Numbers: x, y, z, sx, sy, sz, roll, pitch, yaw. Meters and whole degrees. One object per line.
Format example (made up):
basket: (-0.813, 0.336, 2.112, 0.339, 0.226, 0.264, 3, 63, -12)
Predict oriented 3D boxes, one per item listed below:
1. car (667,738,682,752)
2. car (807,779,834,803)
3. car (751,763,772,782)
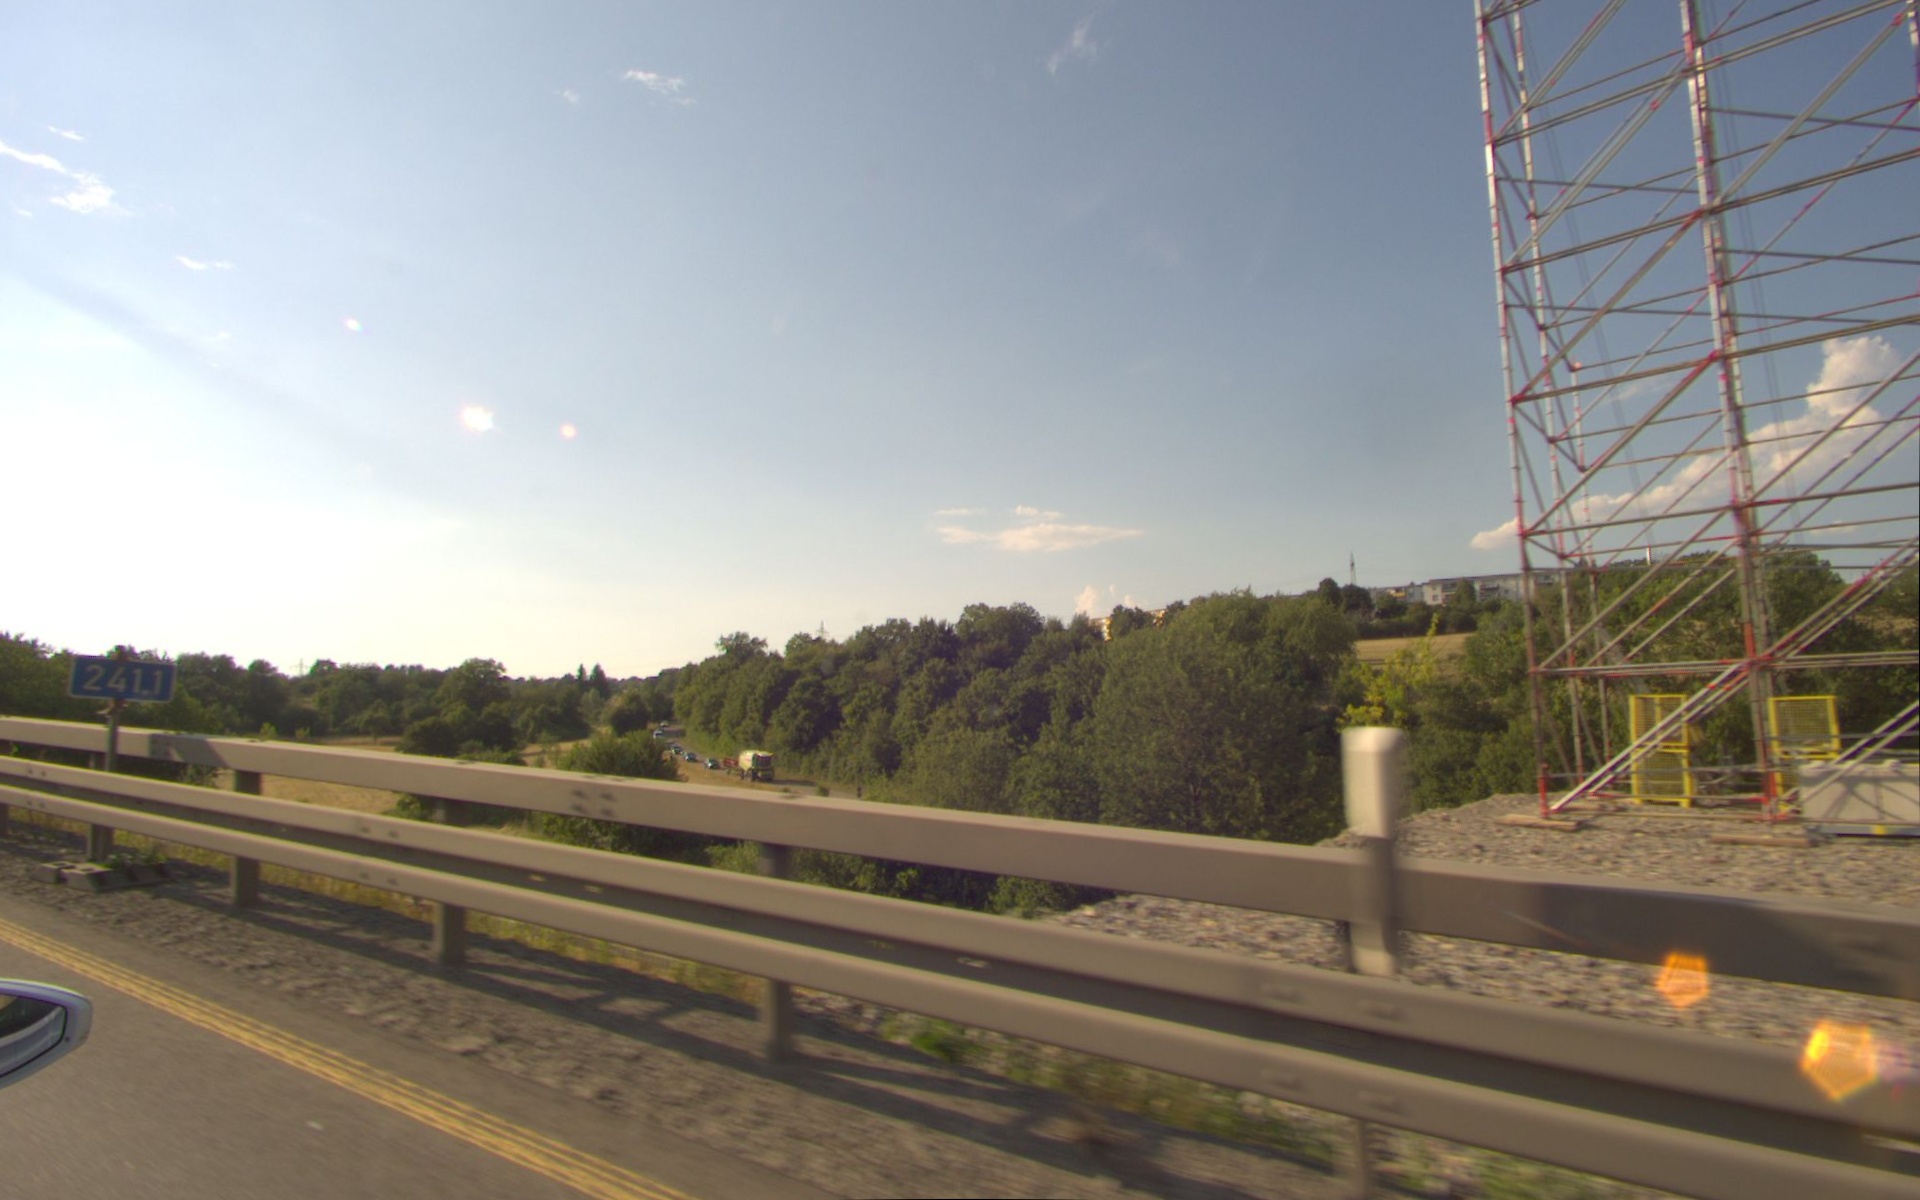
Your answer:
car: (-51.669, 26.156, 181.274, 1.854, 2.039, 3.984, 0, -2, -27)
car: (-15.802, 21.645, 113.644, 1.854, 2.039, 3.984, 0, -2, -27)
car: (-26.920, 23.387, 135.879, 1.854, 2.039, 3.984, 0, -2, -27)
